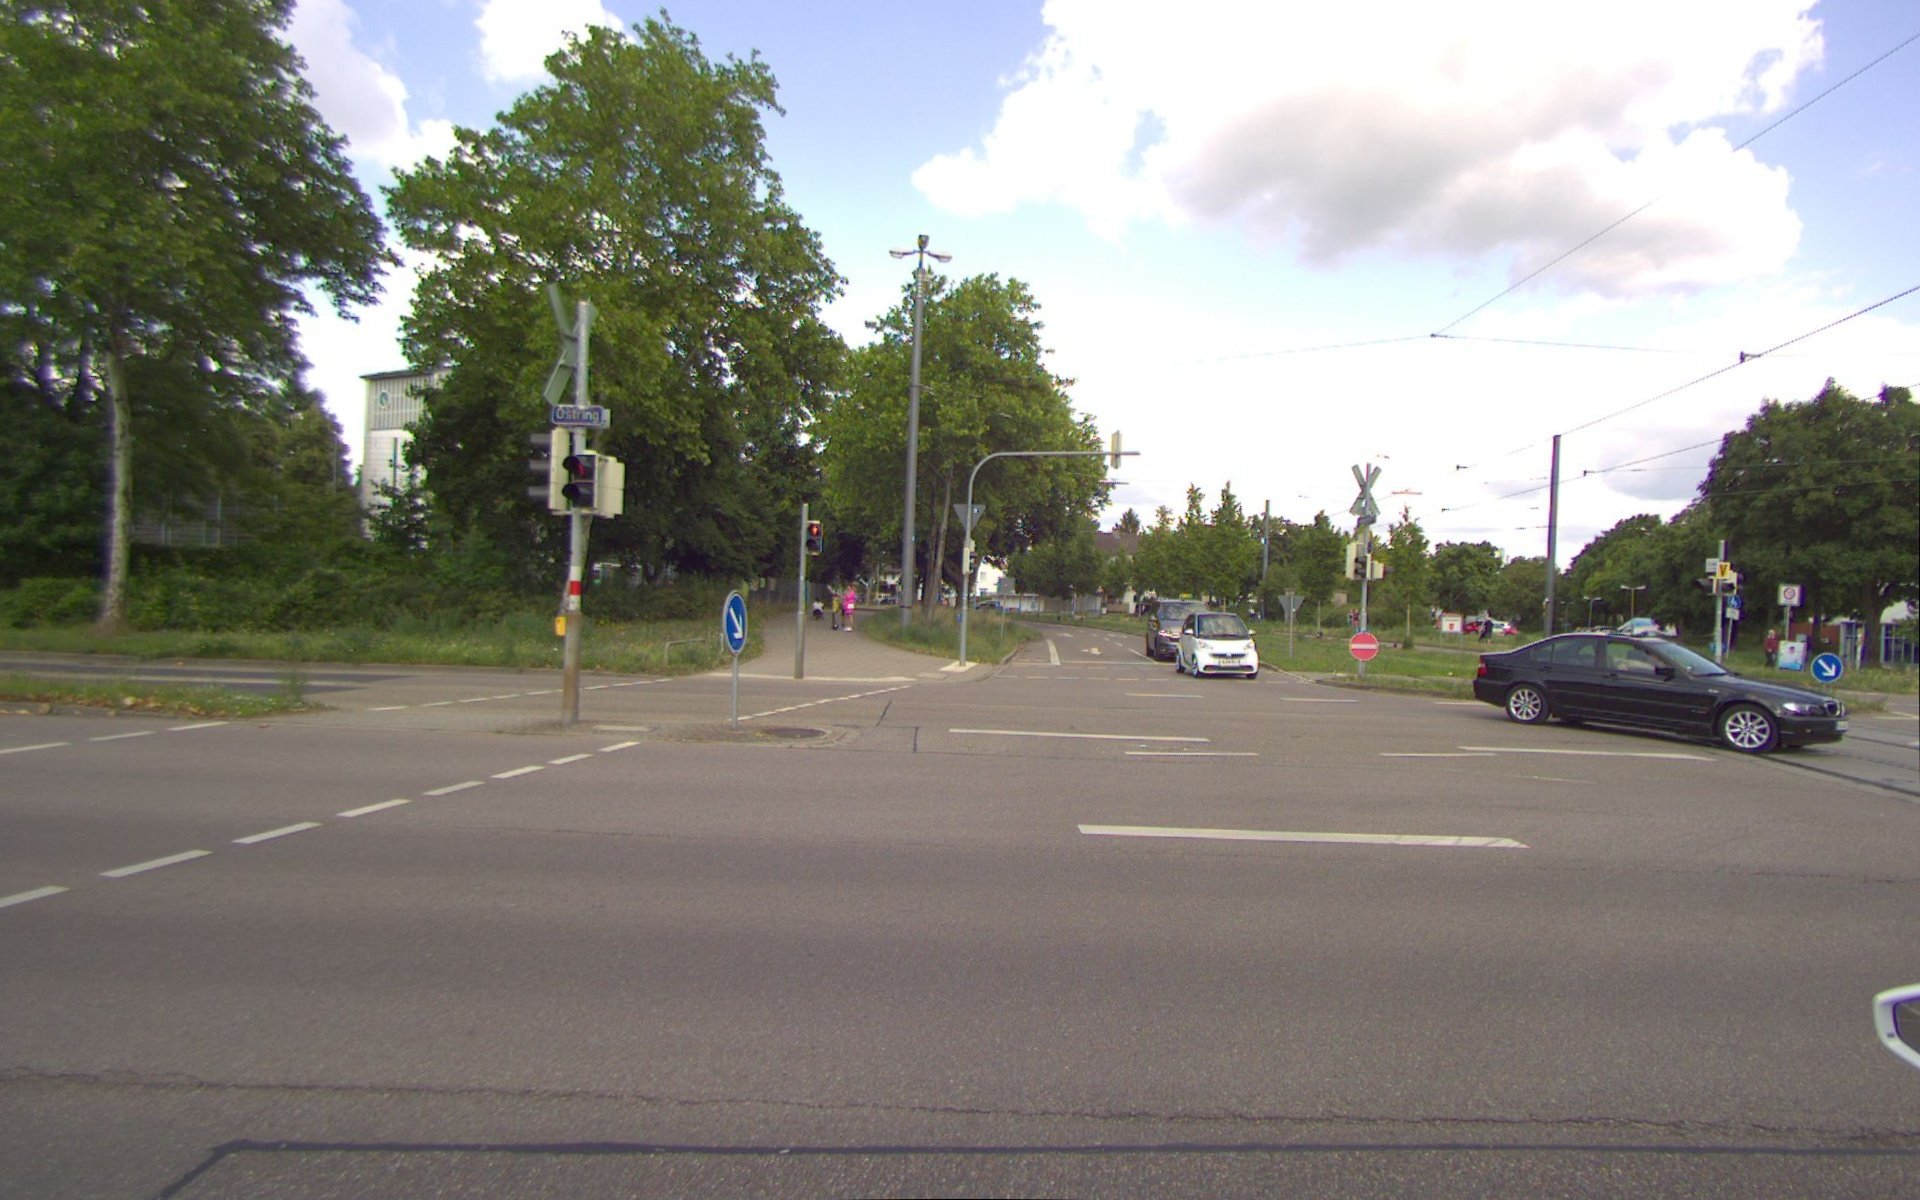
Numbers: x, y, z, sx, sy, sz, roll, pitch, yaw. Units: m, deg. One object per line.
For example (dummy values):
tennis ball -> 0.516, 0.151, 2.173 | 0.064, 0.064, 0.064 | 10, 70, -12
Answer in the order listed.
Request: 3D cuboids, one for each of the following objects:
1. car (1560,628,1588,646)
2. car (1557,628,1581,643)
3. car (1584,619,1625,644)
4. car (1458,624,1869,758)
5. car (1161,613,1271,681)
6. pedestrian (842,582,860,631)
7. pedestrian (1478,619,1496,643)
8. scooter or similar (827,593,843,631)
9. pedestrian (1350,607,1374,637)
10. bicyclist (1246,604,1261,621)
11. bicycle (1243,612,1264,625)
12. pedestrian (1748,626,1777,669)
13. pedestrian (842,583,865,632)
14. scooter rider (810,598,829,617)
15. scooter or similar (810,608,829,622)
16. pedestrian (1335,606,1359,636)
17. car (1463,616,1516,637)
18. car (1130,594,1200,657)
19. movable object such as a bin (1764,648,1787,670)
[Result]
car -> 61.653, 3.679, 100.910 | 1.963, 1.662, 4.386 | 2, 0, 26
car -> 72.028, 4.159, 118.891 | 1.963, 1.662, 4.386 | 2, 0, 26
car -> 46.740, 2.231, 72.922 | 1.963, 1.662, 4.386 | 2, 0, 26
car -> 9.690, 1.156, 14.240 | 1.792, 1.450, 4.429 | 3, -1, -32
car -> 6.328, 1.102, 25.319 | 1.775, 1.450, 4.384 | 2, 0, 2
pedestrian -> -3.718, 0.215, 34.174 | 0.413, 1.641, 0.596 | 2, 0, 10
pedestrian -> 30.328, 1.762, 57.781 | 0.638, 1.372, 0.752 | 0, 0, 1
scooter or similar -> -4.250, 0.403, 34.188 | 0.315, 1.248, 0.776 | 0, 0, 12
pedestrian -> 28.425, 1.519, 70.981 | 1.086, 2.040, 1.175 | 2, 0, -8
bicyclist -> 25.828, 1.097, 88.327 | 0.947, 1.509, 0.833 | 2, 0, -14
bicycle -> 25.793, 1.625, 88.310 | 0.935, 1.054, 1.979 | 2, 0, -13
pedestrian -> 31.582, 1.875, 39.534 | 0.602, 1.666, 0.636 | 0, 0, -14
pedestrian -> -3.688, 0.257, 34.922 | 0.620, 1.641, 0.611 | 2, 0, 10
scooter rider -> -5.551, 0.312, 39.697 | 0.600, 0.738, 0.859 | 0, 0, 2
scooter or similar -> -5.548, 0.584, 39.696 | 0.599, 0.518, 0.858 | 0, 0, 2
pedestrian -> 27.271, 1.465, 70.821 | 1.086, 2.040, 1.176 | 2, 0, -6
car -> 45.453, 2.272, 86.247 | 3.926, 1.550, 1.998 | 2, 0, 27
car -> 7.625, 0.904, 37.700 | 1.818, 2.184, 4.384 | 2, 0, 2
movable object such as a bin -> 31.698, 2.277, 39.046 | 0.569, 0.822, 0.458 | 0, 0, -14
